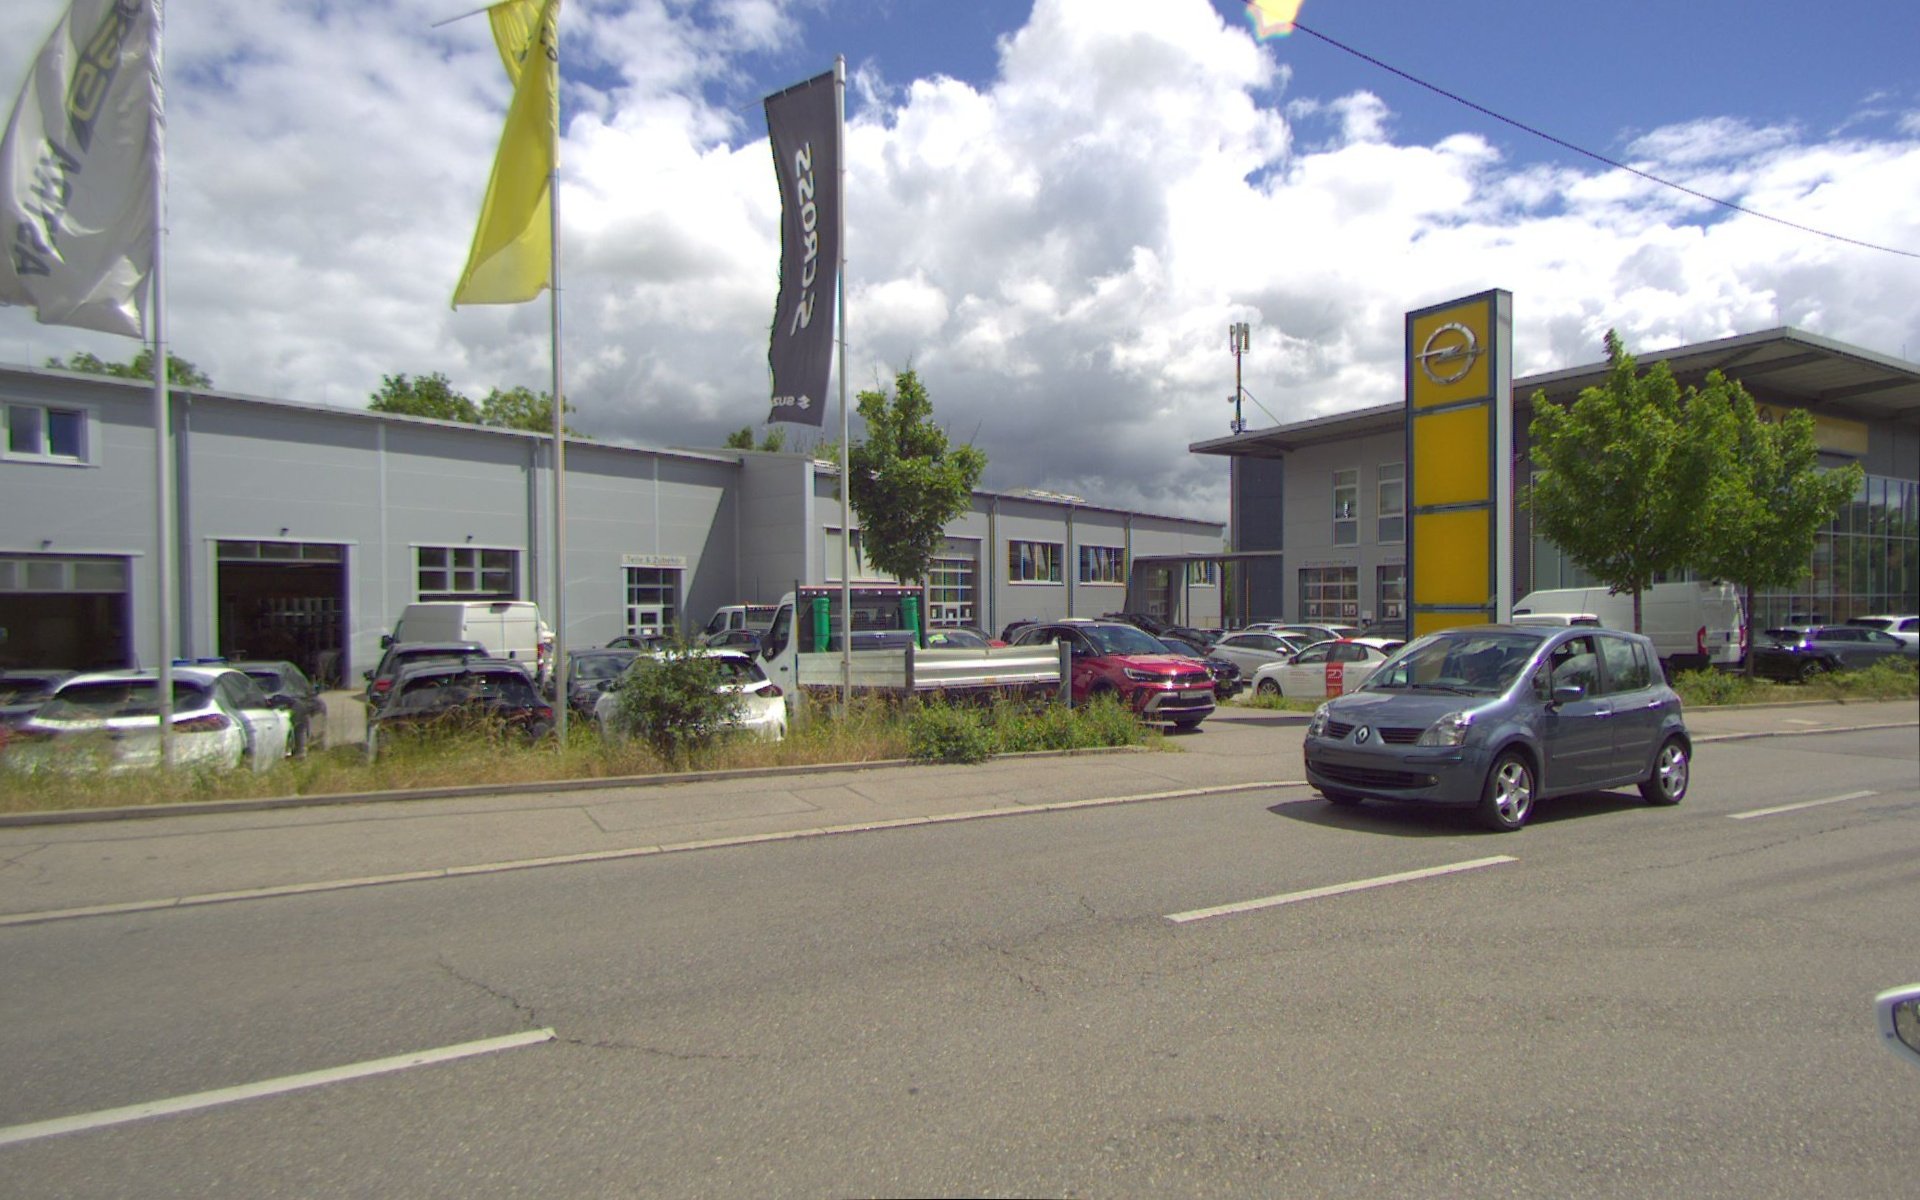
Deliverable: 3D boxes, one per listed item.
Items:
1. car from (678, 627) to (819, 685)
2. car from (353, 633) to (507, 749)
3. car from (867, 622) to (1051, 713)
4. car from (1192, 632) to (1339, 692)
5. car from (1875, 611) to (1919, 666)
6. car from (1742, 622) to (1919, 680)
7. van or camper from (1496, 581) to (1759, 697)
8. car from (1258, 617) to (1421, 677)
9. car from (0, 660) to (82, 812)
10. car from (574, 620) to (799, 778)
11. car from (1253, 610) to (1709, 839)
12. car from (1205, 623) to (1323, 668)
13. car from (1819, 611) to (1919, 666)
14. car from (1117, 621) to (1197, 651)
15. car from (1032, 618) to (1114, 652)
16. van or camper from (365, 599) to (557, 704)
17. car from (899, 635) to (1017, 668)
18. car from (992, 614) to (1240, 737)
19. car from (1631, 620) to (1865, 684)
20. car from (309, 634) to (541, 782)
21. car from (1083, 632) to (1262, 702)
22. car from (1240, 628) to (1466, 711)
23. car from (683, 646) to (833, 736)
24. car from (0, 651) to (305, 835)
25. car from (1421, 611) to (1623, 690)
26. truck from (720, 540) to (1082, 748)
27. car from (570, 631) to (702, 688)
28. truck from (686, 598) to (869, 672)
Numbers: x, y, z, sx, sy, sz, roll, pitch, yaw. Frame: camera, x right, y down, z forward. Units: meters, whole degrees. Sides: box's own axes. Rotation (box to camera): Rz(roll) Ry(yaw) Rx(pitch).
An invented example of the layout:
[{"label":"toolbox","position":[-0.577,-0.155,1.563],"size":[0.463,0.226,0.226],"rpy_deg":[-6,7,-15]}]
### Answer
[{"label":"car","position":[-6.410,1.622,30.229],"size":[4.175,1.516,1.921],"rpy_deg":[1,-1,38]},{"label":"car","position":[-8.054,1.276,15.255],"size":[1.813,1.428,3.664],"rpy_deg":[2,-1,-29]},{"label":"car","position":[-0.142,1.285,19.608],"size":[1.804,1.542,4.061],"rpy_deg":[-1,-3,-30]},{"label":"car","position":[8.470,1.665,28.083],"size":[1.827,1.417,3.675],"rpy_deg":[-1,0,-32]},{"label":"car","position":[33.045,1.230,32.933],"size":[4.398,1.721,1.999],"rpy_deg":[-1,0,-4]},{"label":"car","position":[24.637,1.373,27.700],"size":[4.738,1.470,1.900],"rpy_deg":[-1,0,-2]},{"label":"van or camper","position":[16.419,0.867,25.030],"size":[2.290,2.565,5.004],"rpy_deg":[-1,0,-29]},{"label":"car","position":[10.906,1.310,29.159],"size":[1.906,1.556,4.209],"rpy_deg":[2,-1,-29]},{"label":"car","position":[-10.449,1.382,9.691],"size":[1.903,1.404,4.020],"rpy_deg":[2,-1,-25]},{"label":"car","position":[-3.642,1.119,12.881],"size":[1.905,1.631,3.868],"rpy_deg":[2,-1,-29]},{"label":"car","position":[4.677,0.954,8.904],"size":[3.996,1.616,1.735],"rpy_deg":[1,-3,-31]},{"label":"car","position":[10.620,1.552,35.324],"size":[1.828,1.417,3.672],"rpy_deg":[-1,0,-34]},{"label":"car","position":[28.968,1.180,30.419],"size":[4.468,1.593,1.935],"rpy_deg":[1,-1,-6]},{"label":"car","position":[9.480,1.711,48.443],"size":[3.430,1.301,1.653],"rpy_deg":[0,0,43]},{"label":"car","position":[5.154,1.583,45.942],"size":[3.430,1.417,1.653],"rpy_deg":[0,0,43]},{"label":"van or camper","position":[-12.867,1.194,25.687],"size":[5.818,2.387,2.489],"rpy_deg":[-1,0,43]},{"label":"car","position":[-0.108,1.896,37.781],"size":[4.229,1.037,1.787],"rpy_deg":[1,-1,38]},{"label":"car","position":[2.241,1.123,15.526],"size":[1.732,1.609,3.972],"rpy_deg":[0,-3,-28]},{"label":"car","position":[20.352,1.311,26.177],"size":[4.388,1.529,1.944],"rpy_deg":[0,-2,19]},{"label":"car","position":[-5.896,1.055,11.124],"size":[1.905,1.227,3.700],"rpy_deg":[2,-1,-29]},{"label":"car","position":[5.008,1.548,24.227],"size":[1.906,1.428,4.209],"rpy_deg":[2,-1,-29]},{"label":"car","position":[7.927,1.349,20.609],"size":[1.977,1.428,3.968],"rpy_deg":[2,-1,-30]},{"label":"car","position":[-3.834,1.596,18.578],"size":[1.626,1.346,3.806],"rpy_deg":[2,-1,-29]},{"label":"car","position":[-7.879,1.264,10.082],"size":[1.688,1.342,3.534],"rpy_deg":[2,-1,-25]},{"label":"car","position":[13.670,1.150,24.695],"size":[1.972,1.729,3.977],"rpy_deg":[-1,0,-24]},{"label":"truck","position":[-1.133,0.557,13.684],"size":[2.449,2.176,5.830],"rpy_deg":[2,-2,-32]},{"label":"car","position":[-9.871,1.748,30.506],"size":[4.178,1.428,1.919],"rpy_deg":[1,1,40]},{"label":"truck","position":[-6.178,1.140,33.540],"size":[6.220,2.258,2.689],"rpy_deg":[-1,-2,41]}]
